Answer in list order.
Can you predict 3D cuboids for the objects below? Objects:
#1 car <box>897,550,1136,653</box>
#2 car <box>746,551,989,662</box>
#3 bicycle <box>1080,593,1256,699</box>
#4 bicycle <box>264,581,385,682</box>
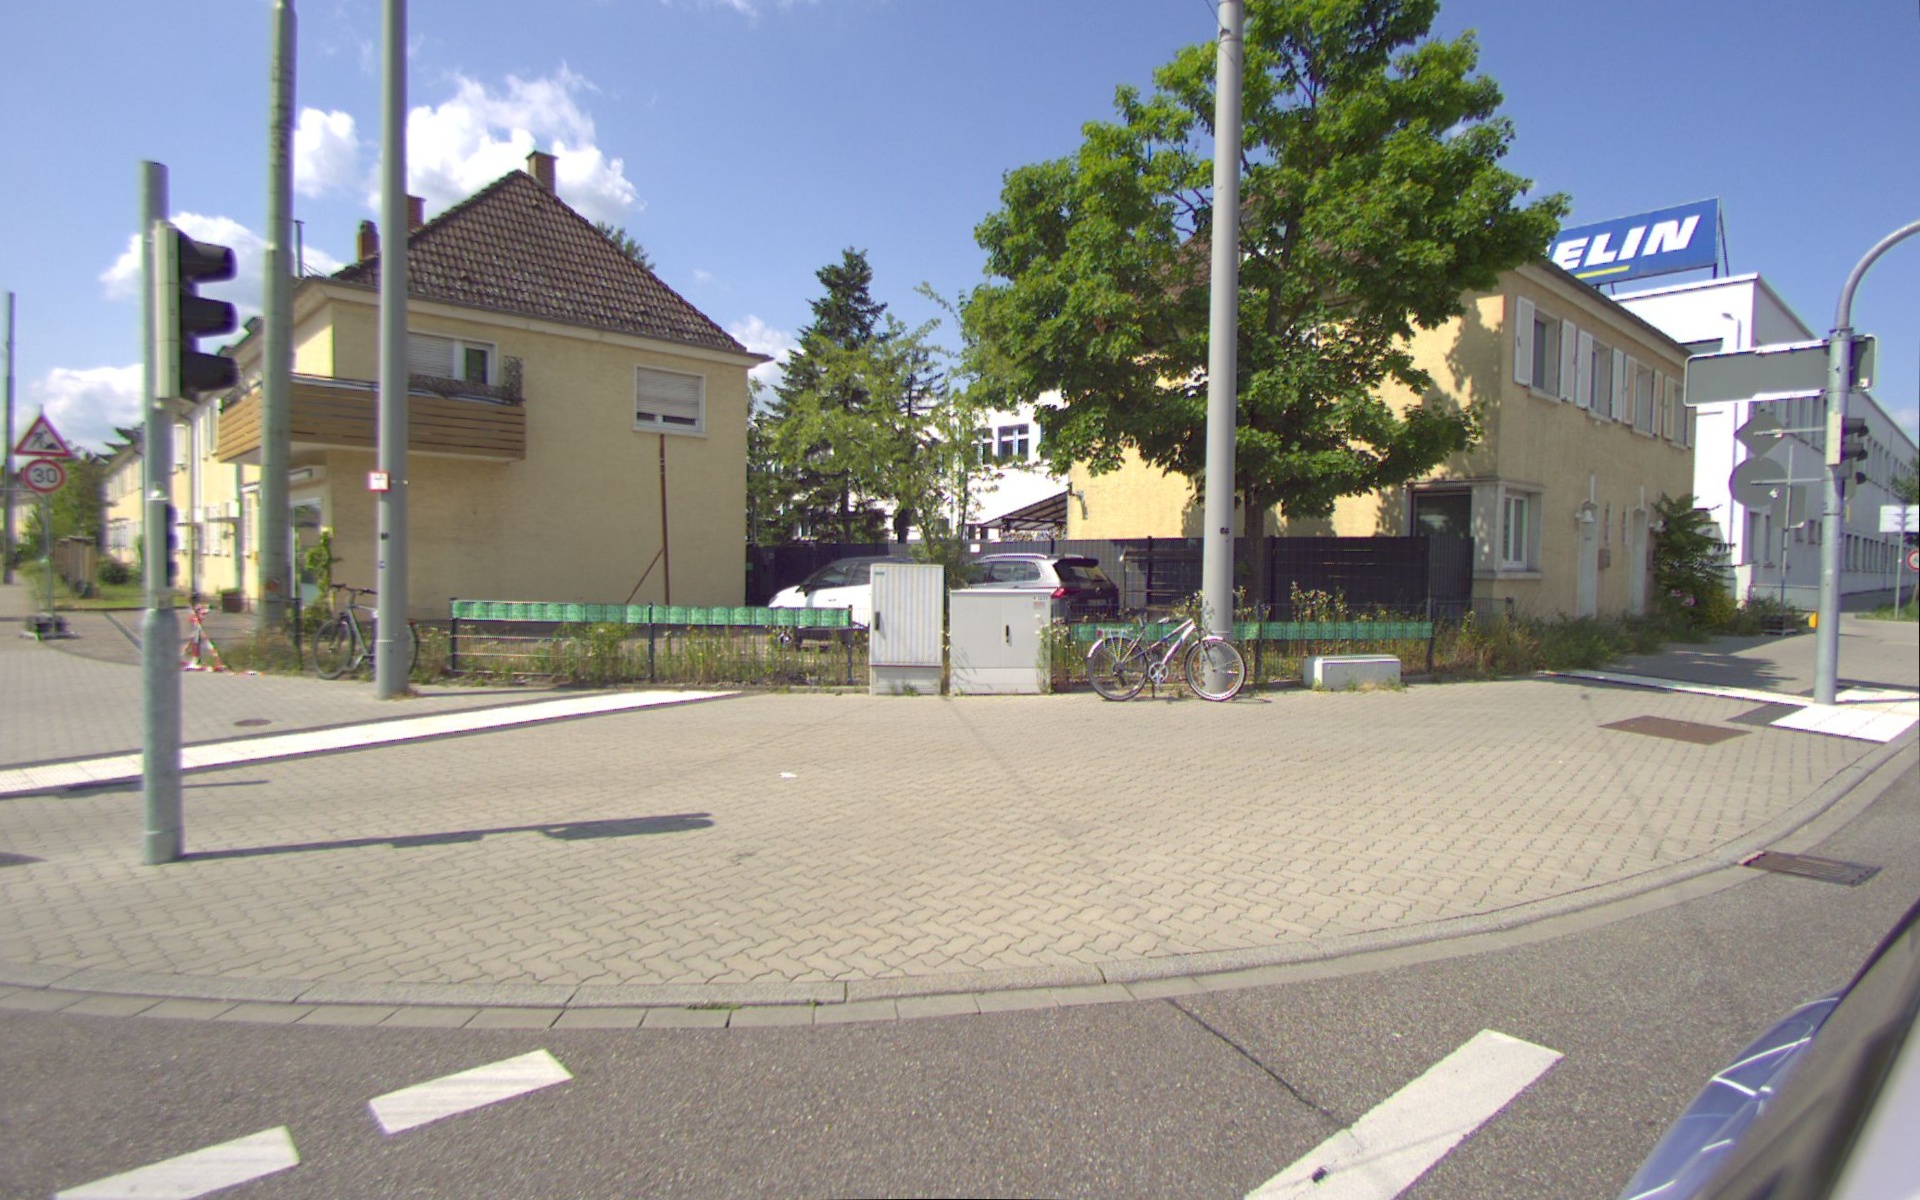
[{"bbox_3d":[0.906,-0.052,17.991,4.106,1.616,1.772,2,2,44],"label":"car"},{"bbox_3d":[-1.628,0.023,16.741,4.106,1.616,1.772,2,2,44],"label":"car"},{"bbox_3d":[2.148,0.466,10.538,1.722,1.031,0.463,-1,1,0],"label":"bicycle"},{"bbox_3d":[-7.630,0.366,12.146,1.556,1.152,0.379,-1,1,23],"label":"bicycle"}]
